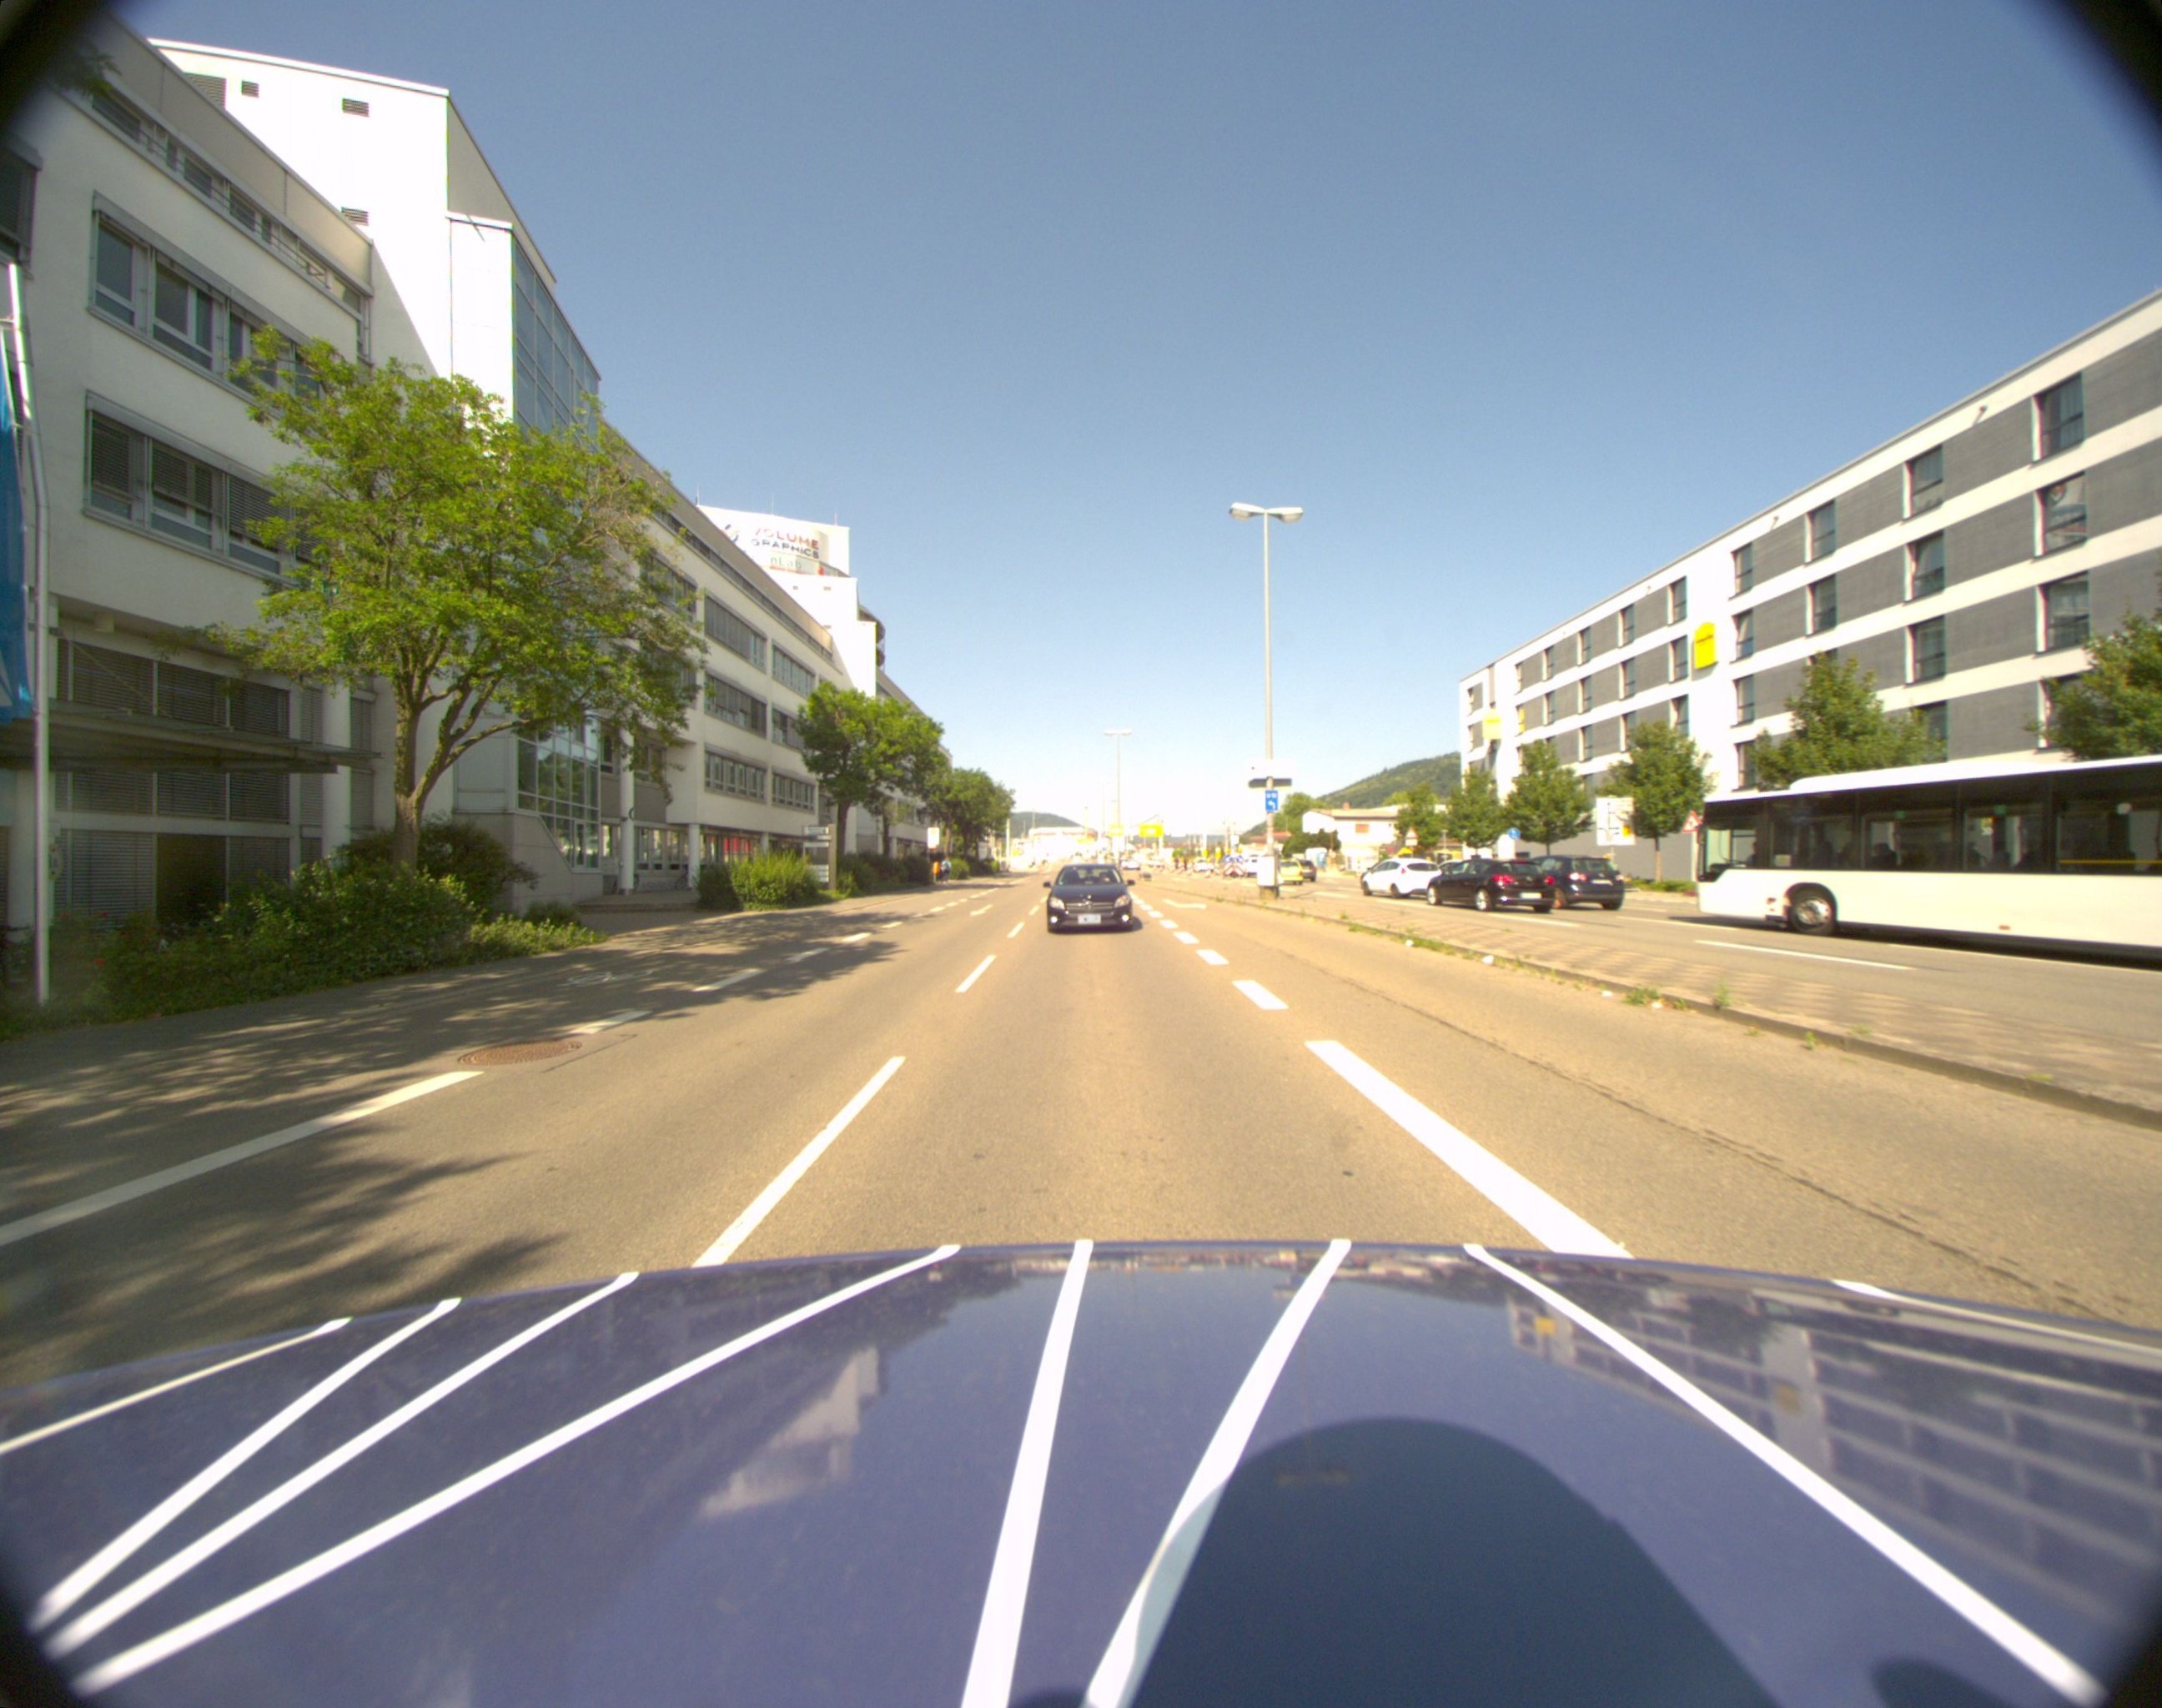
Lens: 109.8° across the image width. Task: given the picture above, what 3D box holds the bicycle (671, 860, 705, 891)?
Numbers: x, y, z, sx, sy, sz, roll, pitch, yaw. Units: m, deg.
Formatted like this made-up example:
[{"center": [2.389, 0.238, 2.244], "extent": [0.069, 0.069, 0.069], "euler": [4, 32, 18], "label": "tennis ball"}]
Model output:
[{"center": [-17.636, 0.943, 34.112], "extent": [0.506, 1.346, 1.884], "euler": [-1, 0, 1], "label": "bicycle"}]

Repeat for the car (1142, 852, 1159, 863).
[{"center": [11.214, 0.559, 122.420], "extent": [1.999, 1.725, 3.998], "euler": [-1, 0, -5], "label": "car"}]

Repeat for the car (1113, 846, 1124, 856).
[{"center": [7.909, -0.625, 160.761], "extent": [1.998, 2.002, 4.000], "euler": [-2, 1, 1], "label": "car"}]

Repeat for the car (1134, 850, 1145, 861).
[{"center": [11.798, 0.307, 152.649], "extent": [1.998, 2.002, 4.000], "euler": [-1, 0, 1], "label": "car"}]

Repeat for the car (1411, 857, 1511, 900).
[{"center": [14.733, 0.900, 29.702], "extent": [1.858, 1.529, 3.978], "euler": [1, 0, 0], "label": "car"}]

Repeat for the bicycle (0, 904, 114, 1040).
[{"center": [-11.205, 1.228, 7.730], "extent": [0.506, 1.321, 1.883], "euler": [0, 0, -7], "label": "bicycle"}]

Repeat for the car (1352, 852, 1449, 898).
[{"center": [11.513, 0.713, 27.686], "extent": [1.764, 1.443, 3.999], "euler": [-2, 1, -1], "label": "car"}]

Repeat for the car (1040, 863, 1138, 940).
[{"center": [0.180, 0.966, 17.277], "extent": [1.905, 1.431, 4.693], "euler": [-1, 0, 1], "label": "car"}]

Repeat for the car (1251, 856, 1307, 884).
[{"center": [11.307, 0.865, 43.707], "extent": [1.998, 1.513, 4.891], "euler": [-1, 0, 1], "label": "car"}]

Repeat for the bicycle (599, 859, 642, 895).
[{"center": [-17.990, 0.883, 29.715], "extent": [0.506, 1.346, 1.884], "euler": [-1, 0, 1], "label": "bicycle"}]

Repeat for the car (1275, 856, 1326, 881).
[{"center": [14.436, 0.940, 50.302], "extent": [1.998, 1.513, 4.891], "euler": [-1, 0, 1], "label": "car"}]

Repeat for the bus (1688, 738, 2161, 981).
[{"center": [14.963, 0.084, 10.960], "extent": [2.745, 3.060, 11.974], "euler": [1, 0, 0], "label": "bus"}]

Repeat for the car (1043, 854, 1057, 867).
[{"center": [-5.284, 1.136, 129.841], "extent": [1.998, 2.002, 4.000], "euler": [-2, 1, 2], "label": "car"}]

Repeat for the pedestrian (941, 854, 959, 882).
[{"center": [-9.022, 0.953, 52.256], "extent": [0.942, 1.875, 1.289], "euler": [2, 0, 1], "label": "pedestrian"}]

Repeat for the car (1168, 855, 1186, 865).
[{"center": [13.152, 0.872, 104.506], "extent": [1.815, 1.328, 3.938], "euler": [-1, 0, -3], "label": "car"}]

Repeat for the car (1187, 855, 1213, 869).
[{"center": [13.272, 0.880, 84.928], "extent": [1.999, 1.530, 3.999], "euler": [-1, 0, -3], "label": "car"}]

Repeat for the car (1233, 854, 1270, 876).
[{"center": [13.955, 0.845, 62.397], "extent": [1.998, 1.702, 4.891], "euler": [-1, 0, 1], "label": "car"}]

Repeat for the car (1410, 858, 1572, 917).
[{"center": [11.428, 0.868, 21.672], "extent": [1.998, 1.424, 4.890], "euler": [-1, 0, 0], "label": "car"}]

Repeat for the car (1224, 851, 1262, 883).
[{"center": [11.070, 0.867, 52.041], "extent": [1.679, 2.002, 4.164], "euler": [-2, 1, 1], "label": "car"}]

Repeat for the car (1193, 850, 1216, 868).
[{"center": [14.096, 0.558, 87.043], "extent": [1.999, 2.002, 4.000], "euler": [-1, 0, -1], "label": "car"}]

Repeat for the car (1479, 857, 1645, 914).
[{"center": [14.387, 0.858, 23.153], "extent": [1.998, 1.513, 4.891], "euler": [-1, 0, 1], "label": "car"}]
